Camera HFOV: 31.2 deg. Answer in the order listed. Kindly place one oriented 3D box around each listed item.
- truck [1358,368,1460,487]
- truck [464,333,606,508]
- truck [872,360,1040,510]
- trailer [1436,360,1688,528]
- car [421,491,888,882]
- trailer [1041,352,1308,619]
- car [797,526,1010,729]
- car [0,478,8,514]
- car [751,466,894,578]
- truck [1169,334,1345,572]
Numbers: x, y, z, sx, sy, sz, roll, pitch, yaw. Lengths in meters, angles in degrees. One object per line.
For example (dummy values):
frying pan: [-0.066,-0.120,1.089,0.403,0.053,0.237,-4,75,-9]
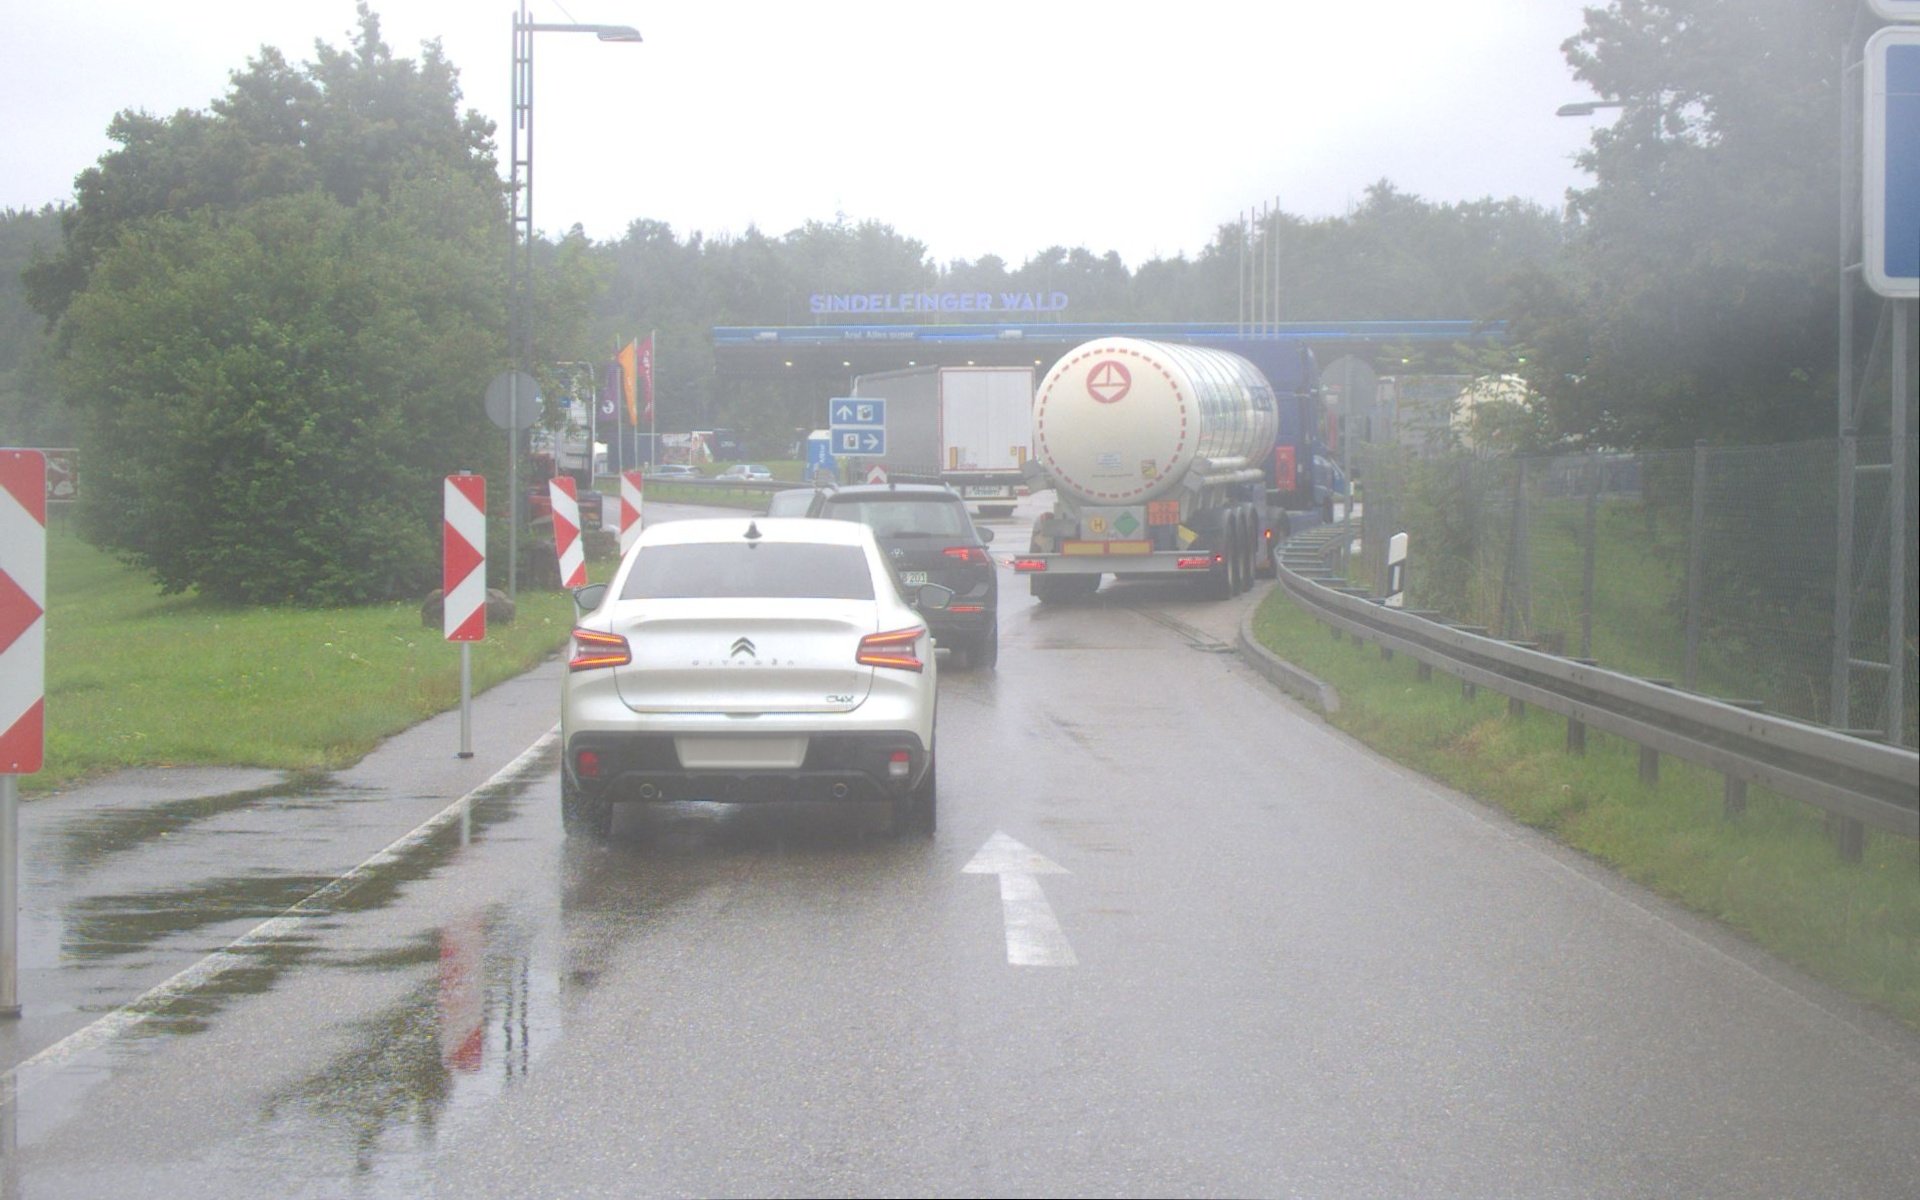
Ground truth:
truck: [14.636,-5.649,112.198,2.425,3.792,4.002,-1,4,-6]
truck: [-9.930,-4.157,79.883,2.914,3.890,6.319,-1,3,-10]
truck: [-0.263,-4.579,95.091,2.370,3.860,12.460,-1,3,-11]
trailer: [13.276,-3.416,74.983,2.135,3.428,10.237,1,3,29]
car: [-1.368,0.334,16.960,1.993,1.673,4.000,-1,1,-1]
trailer: [3.086,-1.616,46.603,1.981,3.213,10.316,1,3,13]
car: [-0.468,0.208,31.183,1.742,1.661,4.000,2,1,0]
car: [-55.735,-5.988,196.878,1.993,2.007,4.001,3,1,-19]
car: [-1.943,-1.105,47.575,1.878,1.456,4.001,1,2,-4]
truck: [4.662,-2.294,53.432,2.054,3.518,4.744,1,3,13]
